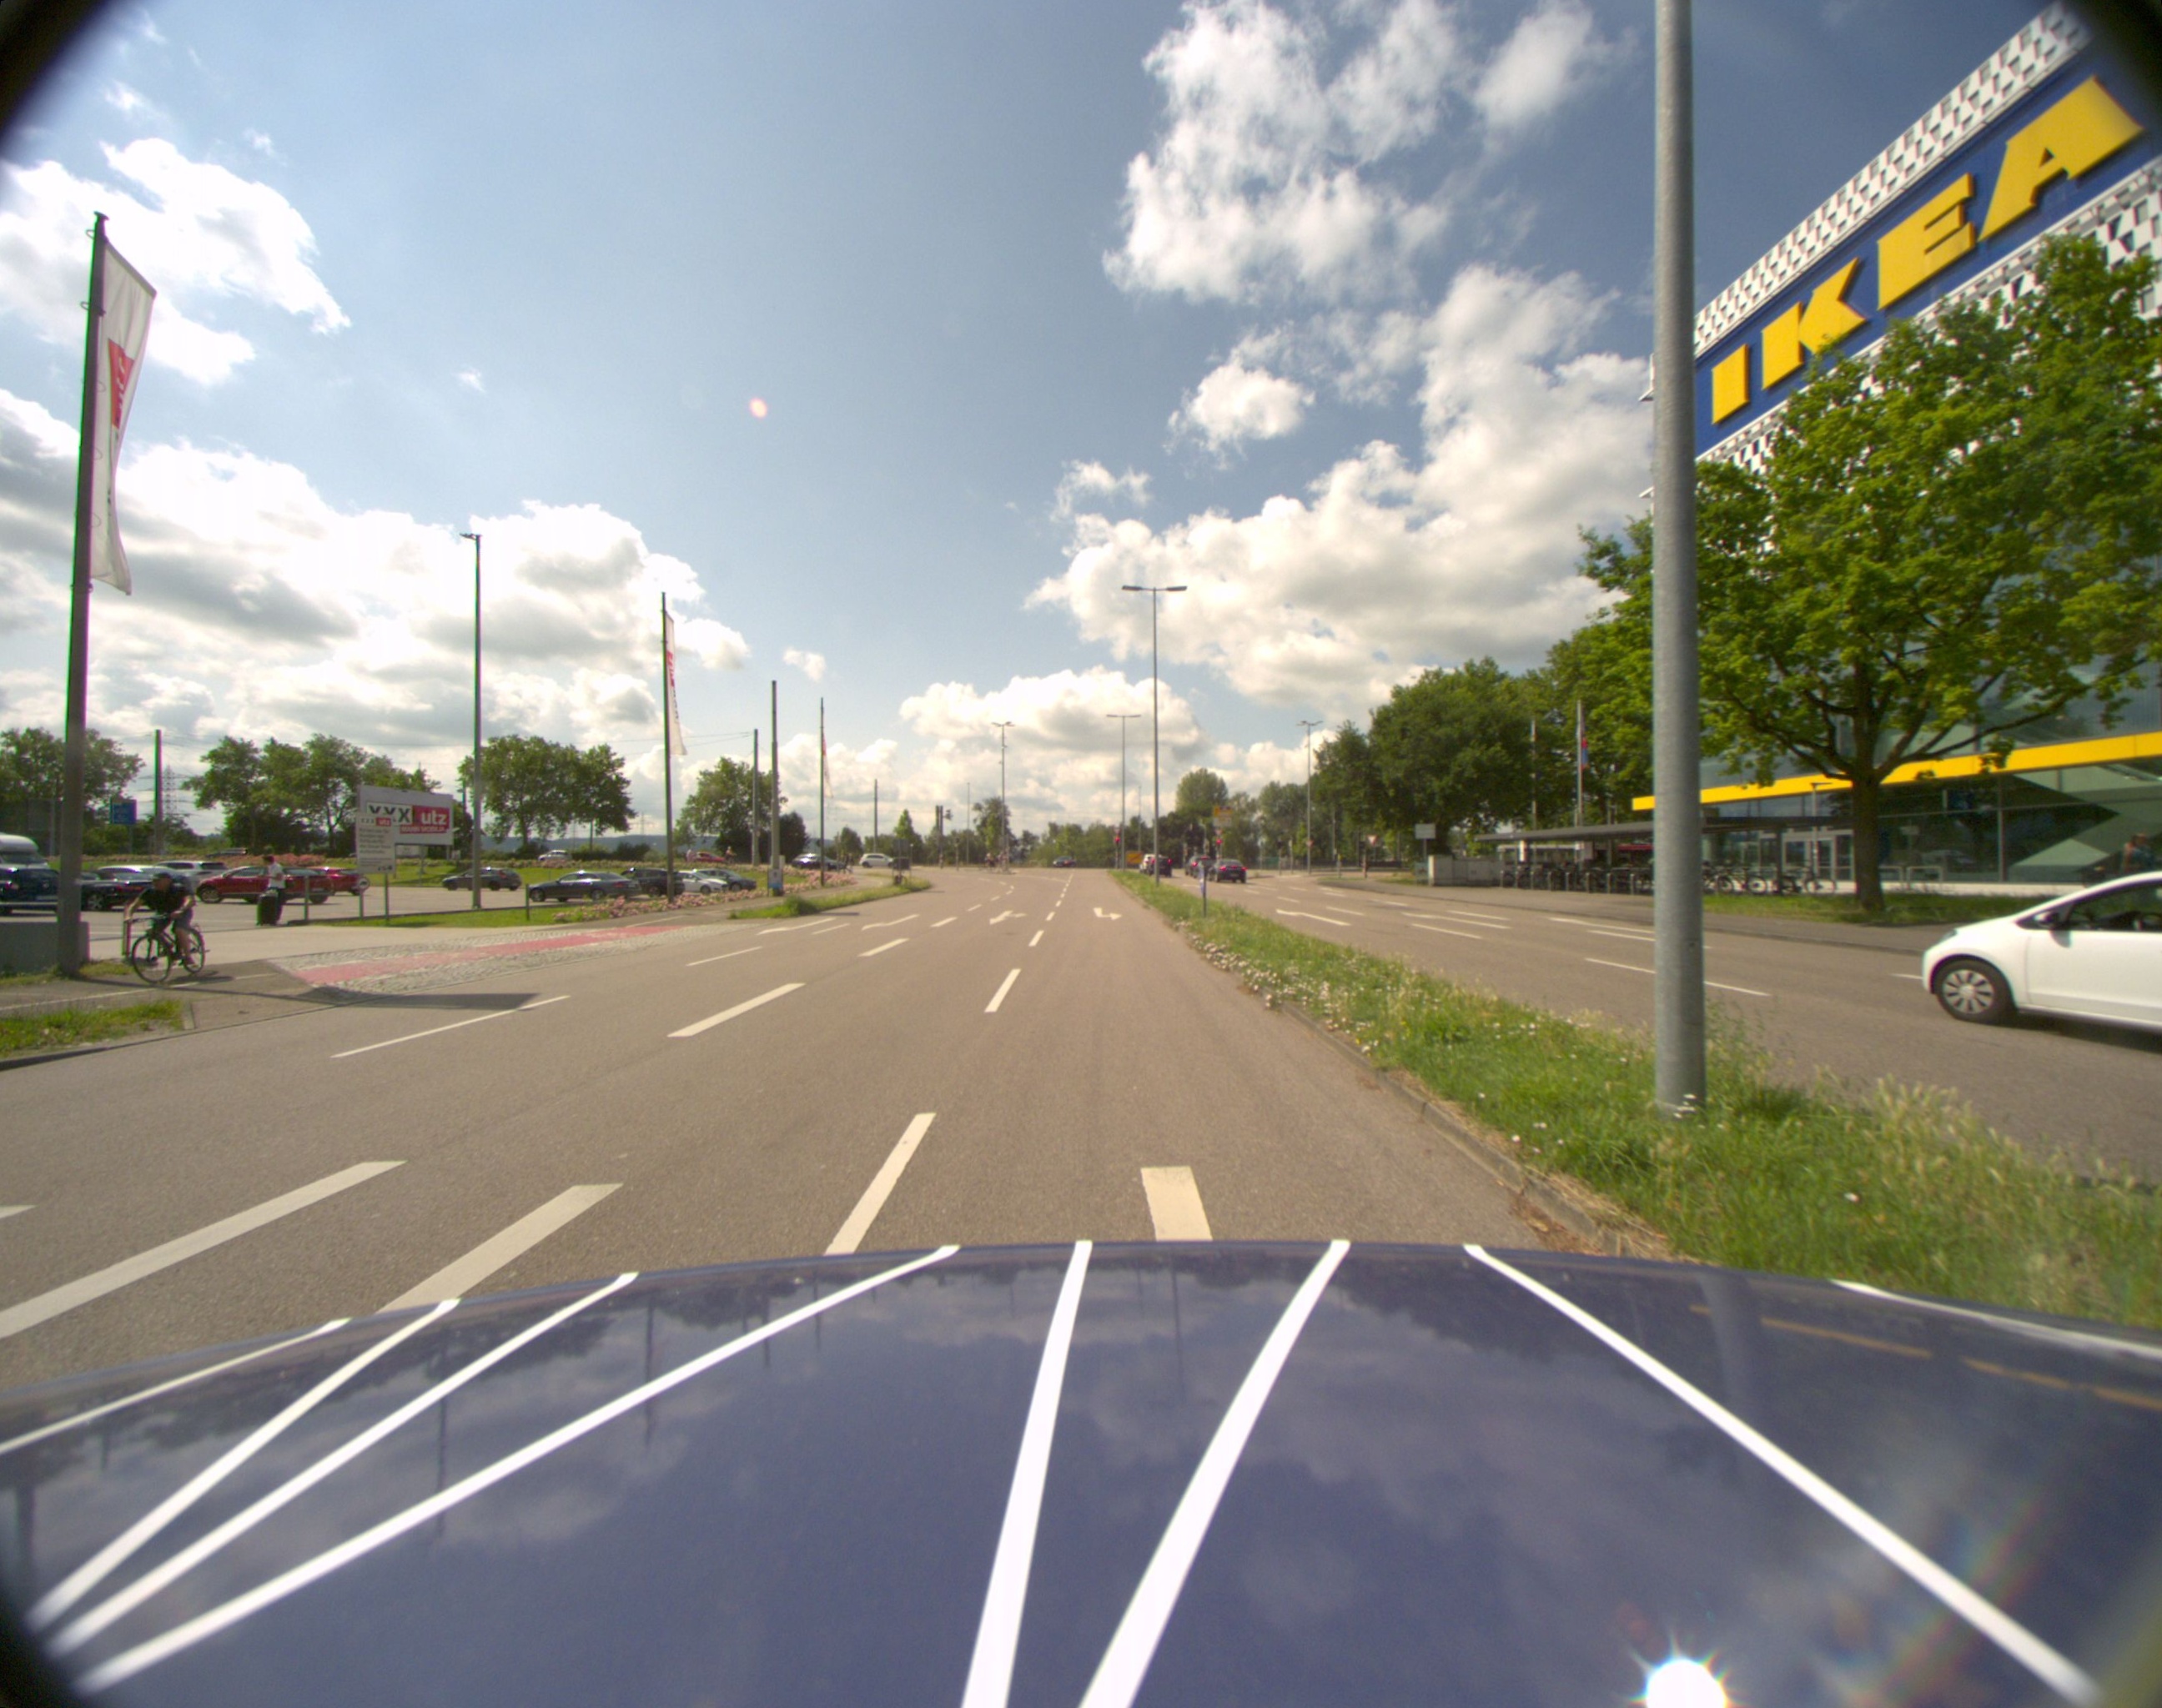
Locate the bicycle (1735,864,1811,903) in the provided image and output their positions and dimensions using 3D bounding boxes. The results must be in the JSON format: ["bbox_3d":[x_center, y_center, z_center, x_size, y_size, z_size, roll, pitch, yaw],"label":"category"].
[{"bbox_3d":[23.063,0.970,25.343,1.930,1.265,0.630,-1,-1,0],"label":"bicycle"}]

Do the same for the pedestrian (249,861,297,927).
[{"bbox_3d":[-22.146,1.081,20.838,0.782,1.771,0.874,-2,-1,43],"label":"pedestrian"}]

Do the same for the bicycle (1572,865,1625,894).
[{"bbox_3d":[23.160,1.122,34.009,1.930,1.265,0.630,-1,-1,0],"label":"bicycle"}]

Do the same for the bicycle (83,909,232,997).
[{"bbox_3d":[-13.495,1.395,11.188,0.626,1.061,1.963,1,-1,-26],"label":"bicycle"}]

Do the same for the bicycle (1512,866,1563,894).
[{"bbox_3d":[20.957,1.198,34.898,1.930,1.265,0.630,-1,-1,0],"label":"bicycle"}]

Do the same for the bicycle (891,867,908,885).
[{"bbox_3d":[-10.124,1.232,42.399,0.518,0.947,1.544,-1,0,0],"label":"bicycle"}]

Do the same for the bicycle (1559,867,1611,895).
[{"bbox_3d":[23.128,1.225,34.904,1.930,1.265,0.630,-1,-1,0],"label":"bicycle"}]

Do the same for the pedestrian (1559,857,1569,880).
[{"bbox_3d":[35.804,1.088,56.364,0.404,1.692,0.450,-1,-1,-5],"label":"pedestrian"}]

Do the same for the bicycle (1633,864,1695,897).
[{"bbox_3d":[23.177,1.049,30.230,1.930,1.265,0.630,-1,-1,0],"label":"bicycle"}]

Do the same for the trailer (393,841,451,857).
[{"bbox_3d":[-80.586,-0.638,92.965,5.182,1.820,1.824,-1,0,-8],"label":"trailer"}]

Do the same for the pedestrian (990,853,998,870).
[{"bbox_3d":[-8.008,0.671,69.994,0.584,1.515,0.469,-1,0,9],"label":"pedestrian"}]

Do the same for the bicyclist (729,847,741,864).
[{"bbox_3d":[-30.102,0.133,66.190,0.742,1.466,0.651,-1,-1,1],"label":"bicyclist"}]

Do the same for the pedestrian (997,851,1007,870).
[{"bbox_3d":[-7.174,0.595,69.172,0.688,1.718,0.701,1,1,12],"label":"pedestrian"}]

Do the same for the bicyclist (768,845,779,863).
[{"bbox_3d":[-26.565,0.001,65.608,0.696,1.526,0.621,-1,-1,5],"label":"bicyclist"}]

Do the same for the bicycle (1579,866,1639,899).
[{"bbox_3d":[21.056,1.132,30.291,1.930,1.265,0.630,-1,-1,0],"label":"bicycle"}]

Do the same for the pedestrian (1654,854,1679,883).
[{"bbox_3d":[34.032,0.851,44.169,0.898,1.696,0.710,0,0,0],"label":"pedestrian"}]

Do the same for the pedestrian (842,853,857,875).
[{"bbox_3d":[-19.068,0.819,62.546,0.820,1.791,0.761,0,0,28],"label":"pedestrian"}]

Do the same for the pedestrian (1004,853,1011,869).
[{"bbox_3d":[-6.891,0.660,71.229,0.556,1.514,0.470,-1,-1,9],"label":"pedestrian"}]

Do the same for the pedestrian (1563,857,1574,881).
[{"bbox_3d":[35.845,1.103,55.840,0.410,1.692,0.516,-1,-1,-5],"label":"pedestrian"}]

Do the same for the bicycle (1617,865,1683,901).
[{"bbox_3d":[20.779,1.047,27.767,1.930,1.265,0.630,-1,-1,0],"label":"bicycle"}]

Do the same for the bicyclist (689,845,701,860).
[{"bbox_3d":[-33.722,-0.111,66.412,0.687,1.317,0.593,-1,-1,4],"label":"bicyclist"}]

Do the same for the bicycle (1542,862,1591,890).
[{"bbox_3d":[23.144,1.052,36.233,1.930,1.265,0.630,-1,-1,0],"label":"bicycle"}]

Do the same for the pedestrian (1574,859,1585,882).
[{"bbox_3d":[36.937,1.208,56.295,0.528,1.692,0.410,-1,-1,-8],"label":"pedestrian"}]

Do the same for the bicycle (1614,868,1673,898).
[{"bbox_3d":[23.103,1.189,31.231,1.930,1.176,0.630,-1,-1,0],"label":"bicycle"}]

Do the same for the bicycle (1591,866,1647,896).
[{"bbox_3d":[23.090,1.161,32.606,1.930,1.265,0.630,-1,-1,0],"label":"bicycle"}]

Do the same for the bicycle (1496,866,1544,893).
[{"bbox_3d":[20.929,1.213,36.245,1.930,1.265,0.630,-1,-1,0],"label":"bicycle"}]

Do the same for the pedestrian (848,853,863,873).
[{"bbox_3d":[-19.209,0.764,64.800,0.860,1.755,0.867,-1,0,28],"label":"pedestrian"}]

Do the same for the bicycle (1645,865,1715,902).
[{"bbox_3d":[20.878,1.020,26.500,1.930,1.265,0.630,-1,-1,0],"label":"bicycle"}]

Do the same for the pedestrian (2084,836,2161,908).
[{"bbox_3d":[25.344,0.420,18.390,0.952,1.692,0.887,-1,0,1],"label":"pedestrian"}]

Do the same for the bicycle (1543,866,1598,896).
[{"bbox_3d":[20.984,1.154,32.601,1.930,1.265,0.630,-1,-1,0],"label":"bicycle"}]

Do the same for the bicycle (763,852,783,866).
[{"bbox_3d":[-26.568,0.458,65.605,1.503,1.158,0.621,-1,-1,5],"label":"bicycle"}]

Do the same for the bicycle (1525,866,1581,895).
[{"bbox_3d":[21.024,1.189,33.862,2.094,1.265,0.630,-1,-1,0],"label":"bicycle"}]

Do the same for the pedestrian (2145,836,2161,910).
[{"bbox_3d":[27.053,0.467,18.606,0.755,1.812,0.887,-1,0,1],"label":"pedestrian"}]

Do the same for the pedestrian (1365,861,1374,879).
[{"bbox_3d":[24.050,1.347,63.301,0.439,1.481,0.619,0,0,-16],"label":"pedestrian"}]

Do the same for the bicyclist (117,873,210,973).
[{"bbox_3d":[-13.492,0.989,11.195,0.618,1.404,0.713,1,-1,-26],"label":"bicyclist"}]

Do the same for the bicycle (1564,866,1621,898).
[{"bbox_3d":[21.062,1.145,31.311,1.930,1.265,0.630,-1,-1,0],"label":"bicycle"}]

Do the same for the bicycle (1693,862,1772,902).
[{"bbox_3d":[20.785,0.891,24.255,1.930,1.265,0.630,-1,-1,0],"label":"bicycle"}]
